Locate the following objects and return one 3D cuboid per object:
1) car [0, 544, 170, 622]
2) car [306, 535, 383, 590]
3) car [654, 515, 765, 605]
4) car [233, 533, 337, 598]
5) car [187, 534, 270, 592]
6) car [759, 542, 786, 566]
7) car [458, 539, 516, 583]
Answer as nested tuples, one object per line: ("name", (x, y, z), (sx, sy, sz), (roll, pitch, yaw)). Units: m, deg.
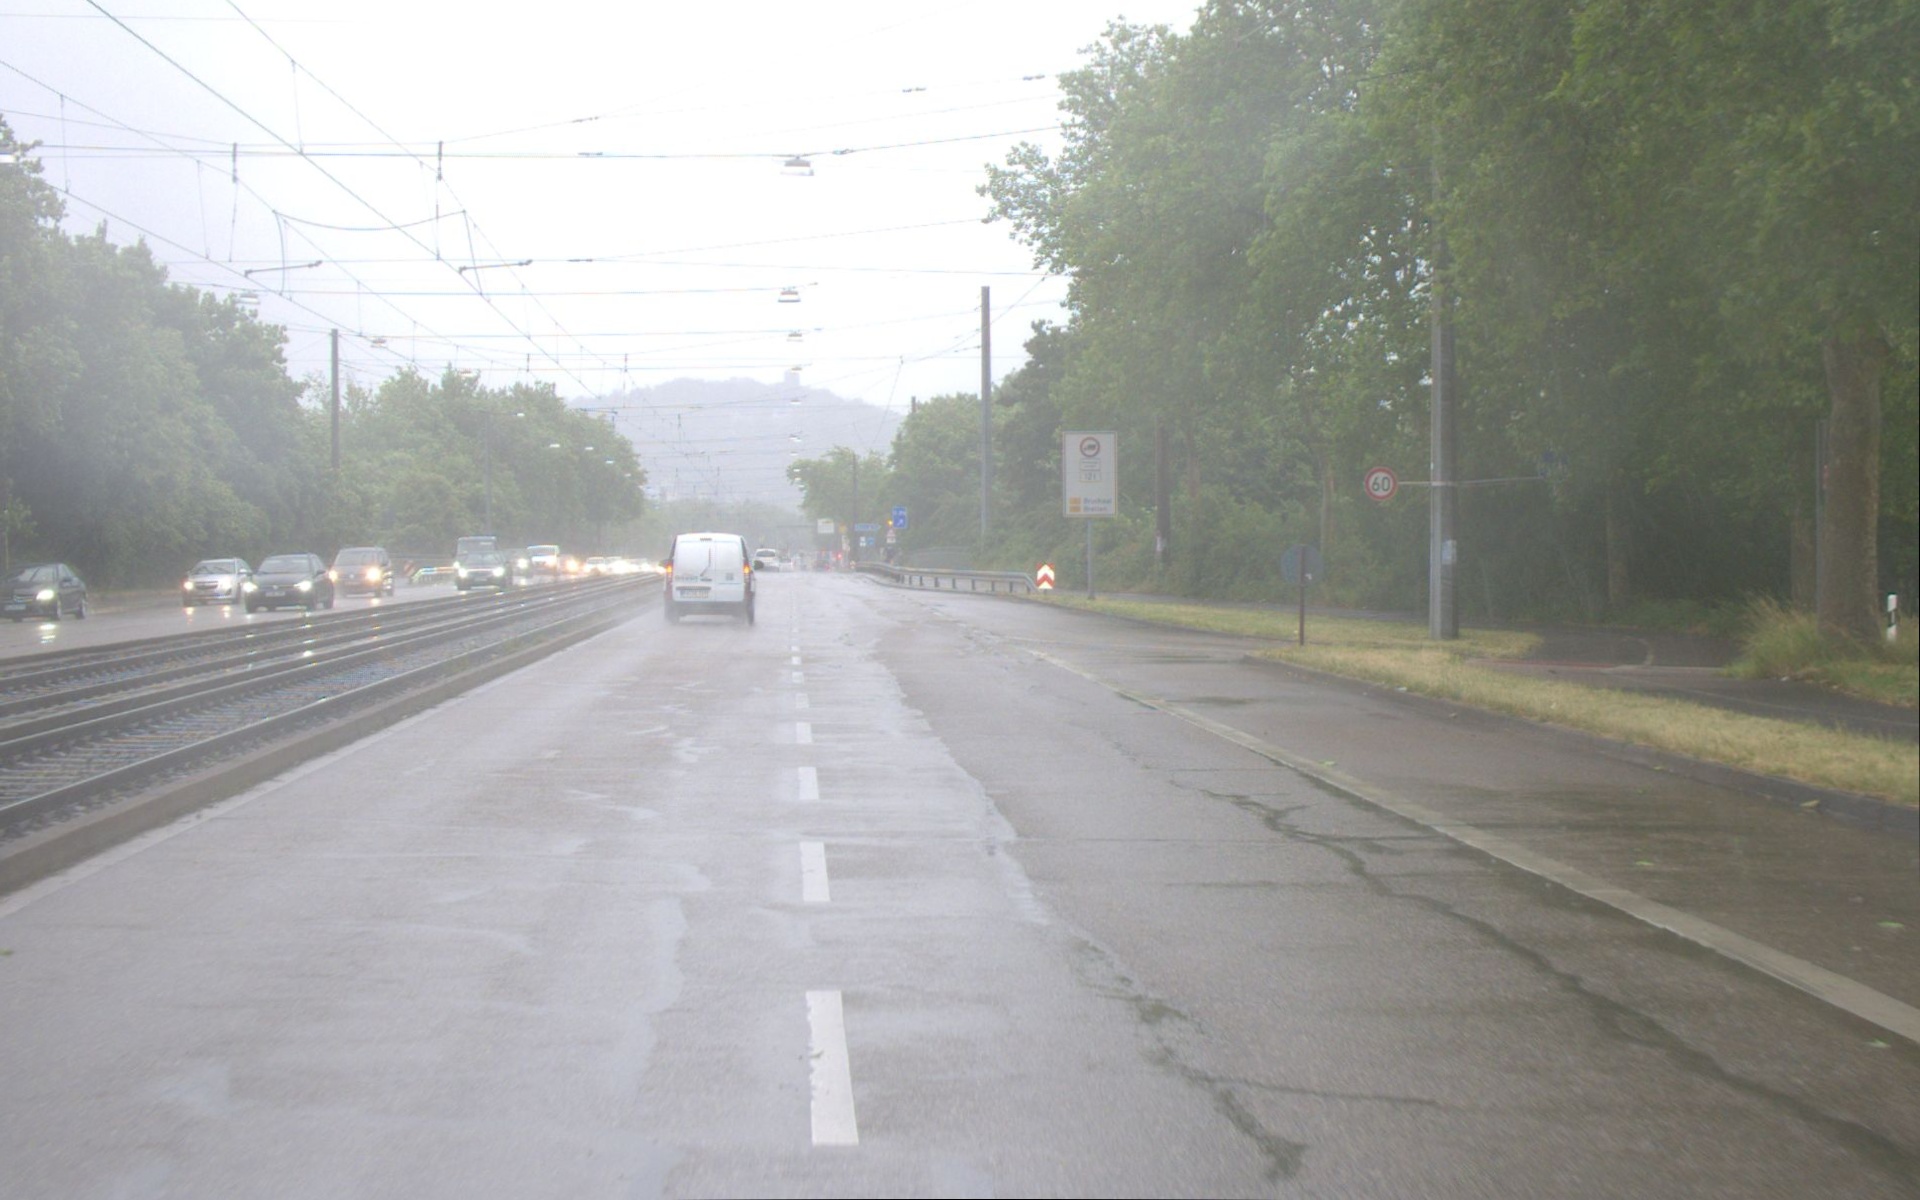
("car", (-21.771, -0.448, 83.599), (2.087, 1.792, 4.754), (3, 2, 37))
("car", (-21.224, -1.315, 118.742), (1.819, 1.700, 6.106), (1, 2, -3))
("car", (-4.967, -0.820, 68.511), (1.989, 1.678, 3.740), (1, 2, -1))
("car", (-17.652, -0.932, 90.104), (1.790, 1.544, 5.314), (1, 2, -2))
("car", (-23.689, -1.219, 111.441), (1.819, 1.700, 5.021), (1, 2, -3))
("car", (-12.406, -3.055, 227.049), (1.743, 1.503, 3.701), (1, 2, -3))
("car", (-18.482, -1.554, 134.558), (1.776, 1.579, 5.682), (1, 2, -3))
